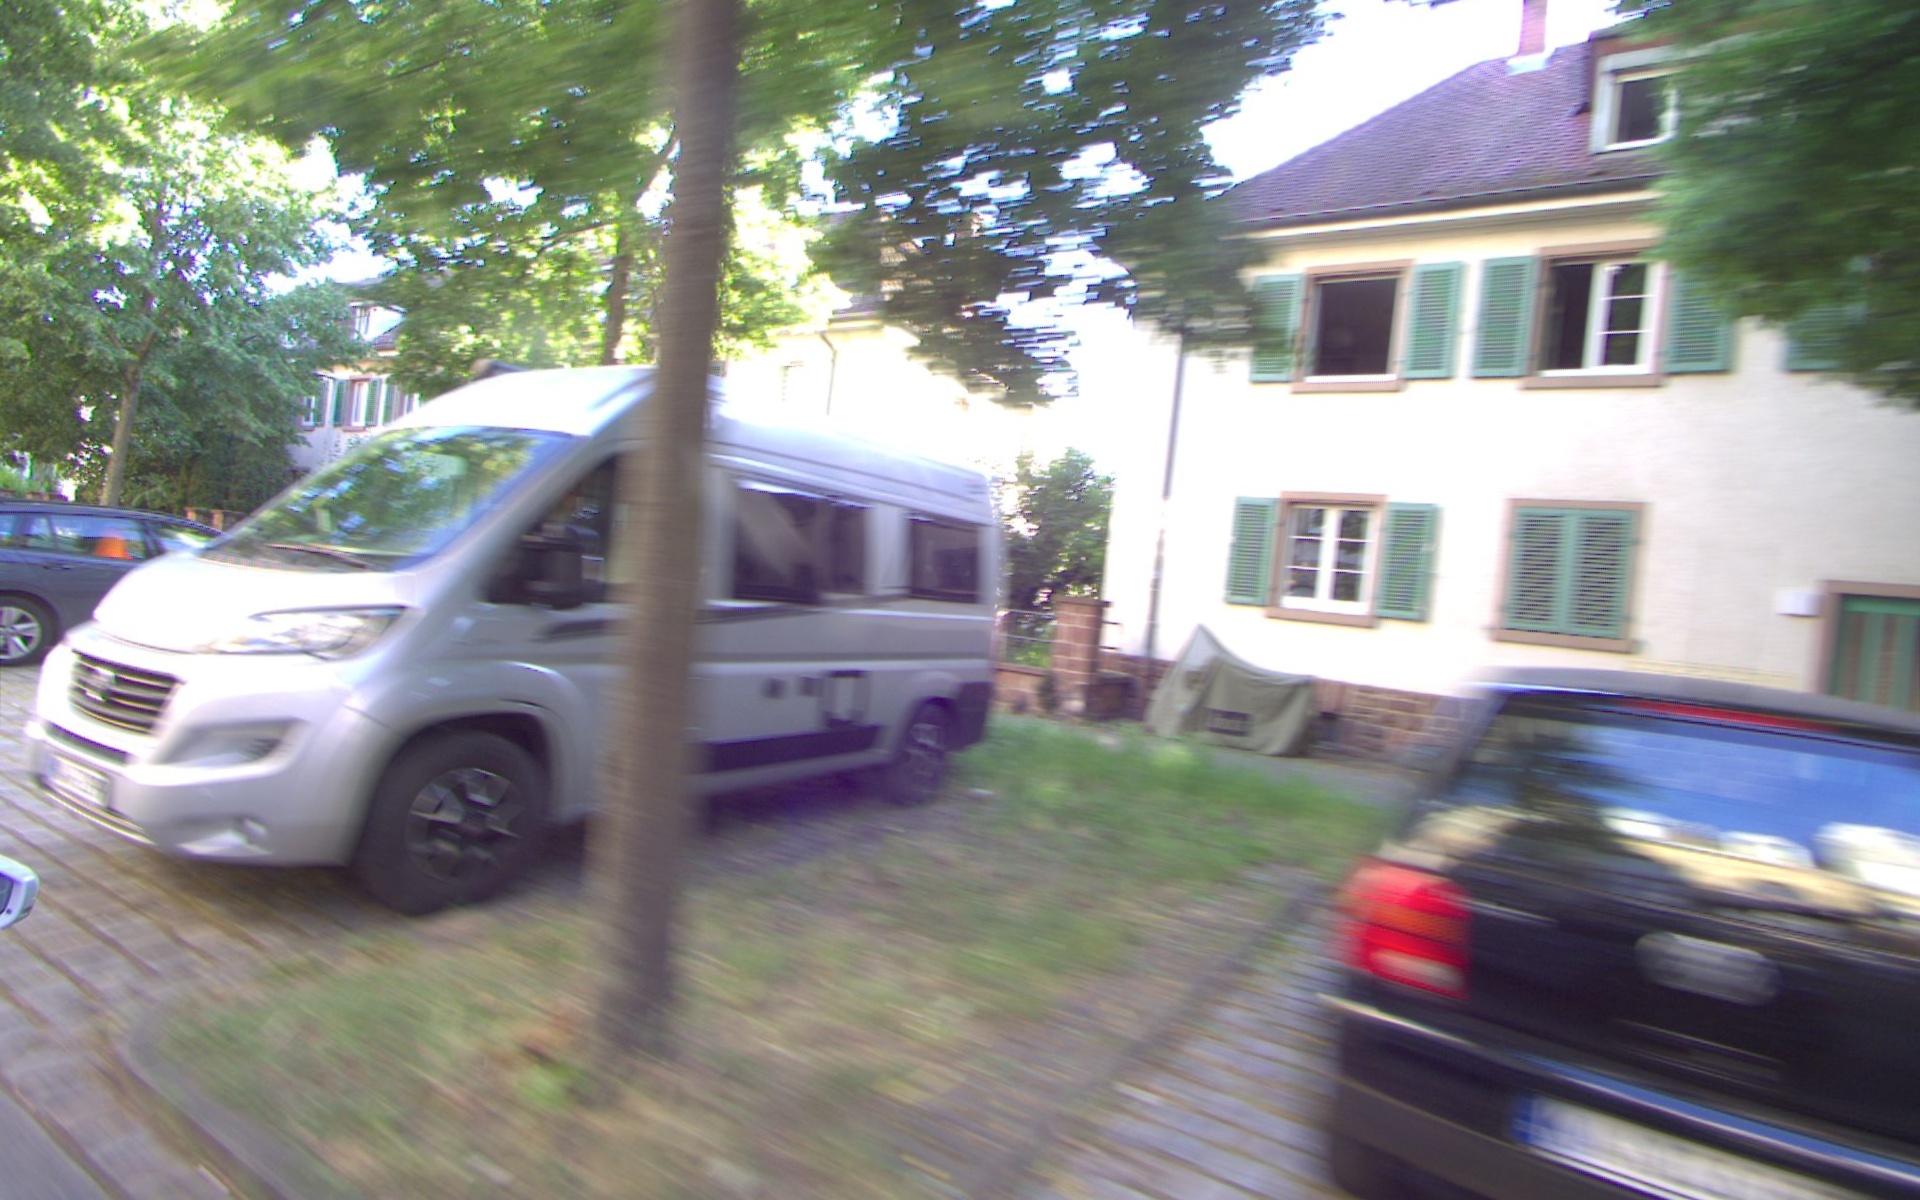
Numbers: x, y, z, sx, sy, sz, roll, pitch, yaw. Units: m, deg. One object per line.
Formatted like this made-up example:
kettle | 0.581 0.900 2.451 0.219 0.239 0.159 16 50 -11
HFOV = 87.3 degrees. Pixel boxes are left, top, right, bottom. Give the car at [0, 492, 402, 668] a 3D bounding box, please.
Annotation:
car | -8.314 -0.172 9.961 1.787 1.471 4.506 5 -1 33

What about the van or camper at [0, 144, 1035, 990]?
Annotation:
van or camper | -1.838 -0.080 6.039 2.230 2.570 5.578 5 1 30

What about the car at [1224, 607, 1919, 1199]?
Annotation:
car | 2.261 0.908 3.338 1.722 1.491 3.504 5 0 30

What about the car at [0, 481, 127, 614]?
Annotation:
car | -13.232 -0.785 12.340 1.723 1.626 4.249 5 0 28

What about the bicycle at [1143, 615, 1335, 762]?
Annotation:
bicycle | 3.274 1.006 11.834 1.967 1.417 0.802 6 0 19
